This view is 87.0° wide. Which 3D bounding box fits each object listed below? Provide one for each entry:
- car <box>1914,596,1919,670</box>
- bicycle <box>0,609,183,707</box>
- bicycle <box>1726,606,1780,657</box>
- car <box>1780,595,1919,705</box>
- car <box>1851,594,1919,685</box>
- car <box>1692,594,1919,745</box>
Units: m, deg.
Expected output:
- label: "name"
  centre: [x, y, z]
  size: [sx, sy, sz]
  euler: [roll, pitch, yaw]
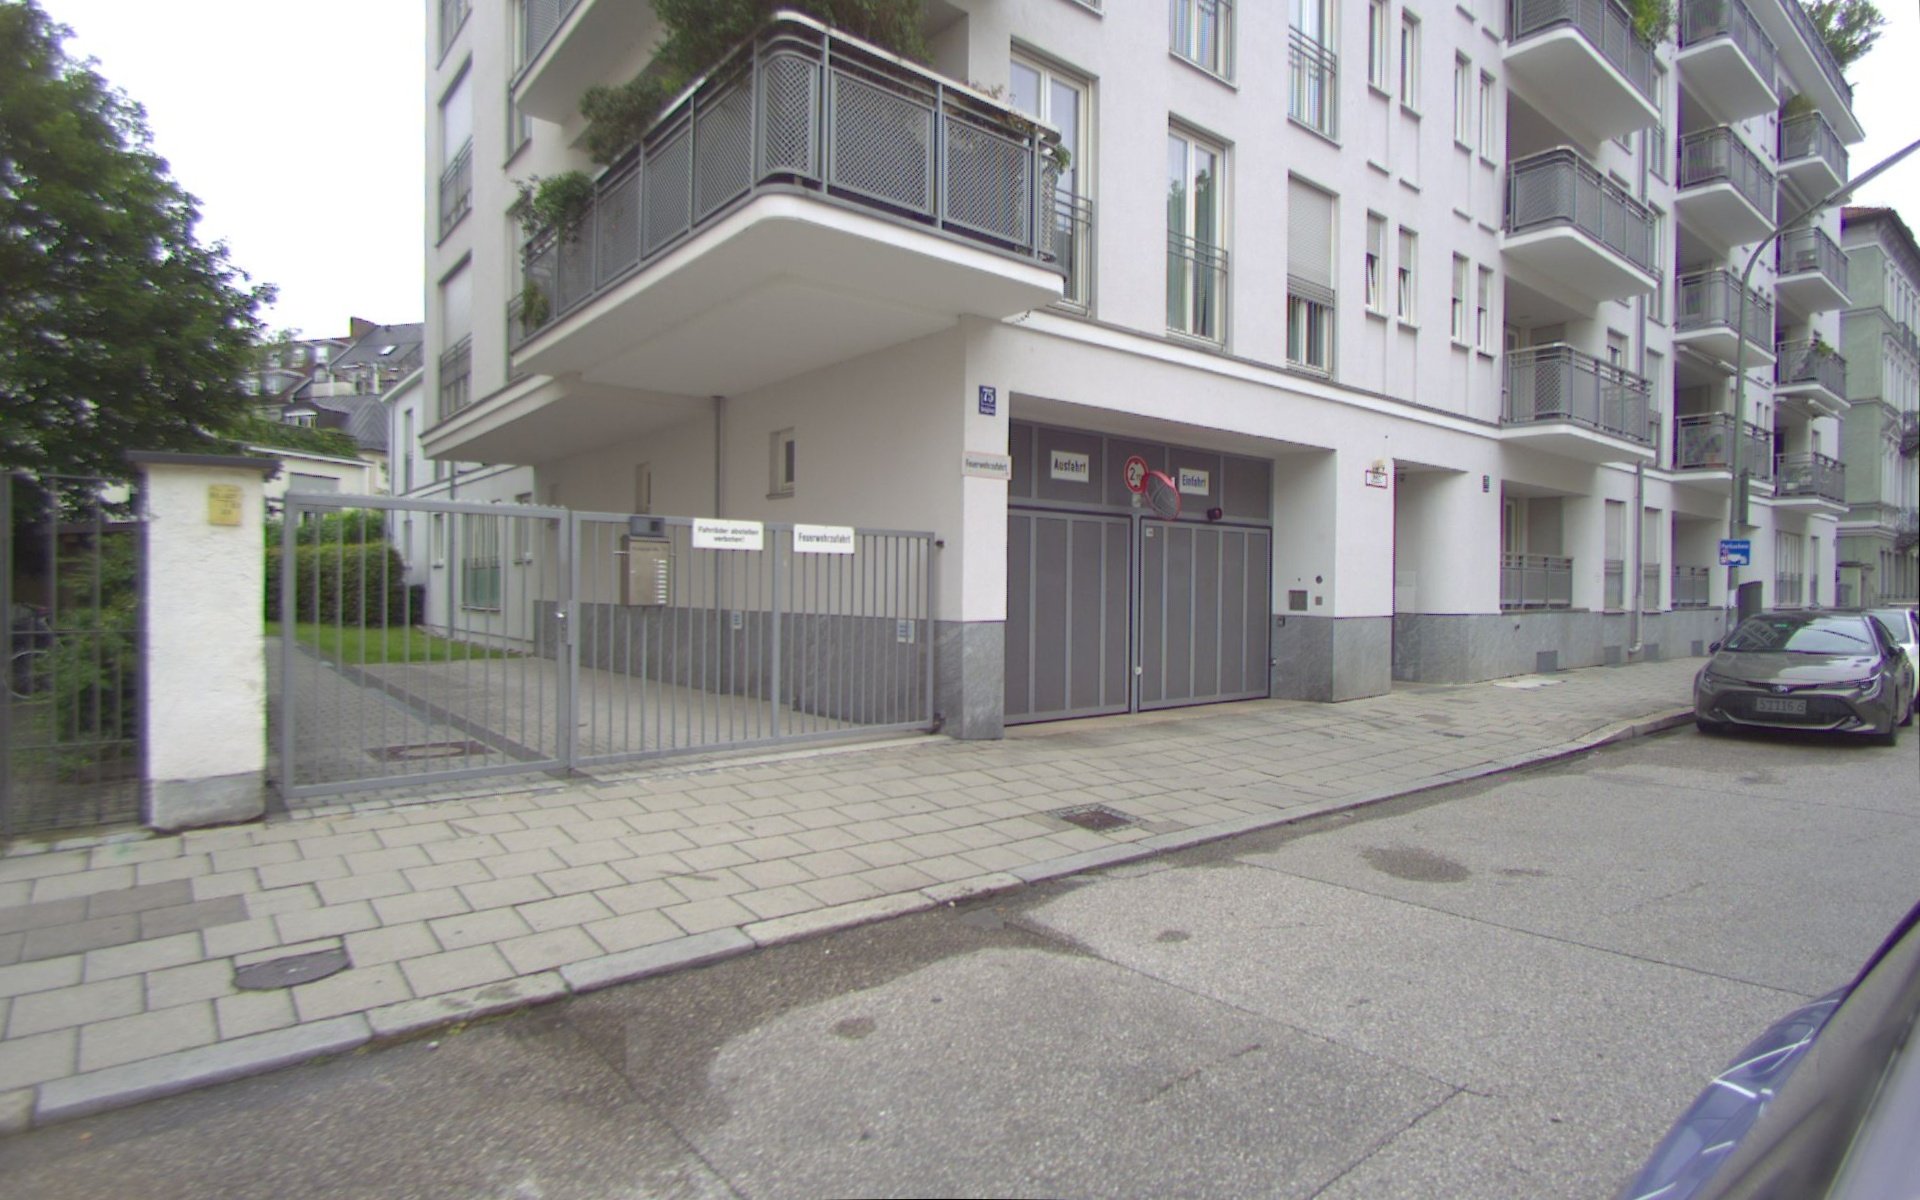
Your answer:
- label: "car"
  centre: [22.228, 0.702, 22.030]
  size: [3.953, 1.552, 1.839]
  euler: [1, -2, -43]
- label: "bicycle"
  centre: [-11.727, 0.746, 13.597]
  size: [1.988, 1.240, 0.881]
  euler: [1, -2, -41]
- label: "bicycle"
  centre: [18.442, 0.726, 23.521]
  size: [1.777, 1.111, 0.570]
  euler: [1, 2, -40]
- label: "car"
  centre: [13.869, 0.715, 15.294]
  size: [3.679, 1.486, 1.620]
  euler: [1, -2, -40]
- label: "car"
  centre: [17.714, 0.684, 18.335]
  size: [4.523, 1.501, 1.793]
  euler: [1, -2, -42]
- label: "car"
  centre: [10.342, 0.731, 12.130]
  size: [4.145, 1.495, 1.773]
  euler: [2, -1, -43]
